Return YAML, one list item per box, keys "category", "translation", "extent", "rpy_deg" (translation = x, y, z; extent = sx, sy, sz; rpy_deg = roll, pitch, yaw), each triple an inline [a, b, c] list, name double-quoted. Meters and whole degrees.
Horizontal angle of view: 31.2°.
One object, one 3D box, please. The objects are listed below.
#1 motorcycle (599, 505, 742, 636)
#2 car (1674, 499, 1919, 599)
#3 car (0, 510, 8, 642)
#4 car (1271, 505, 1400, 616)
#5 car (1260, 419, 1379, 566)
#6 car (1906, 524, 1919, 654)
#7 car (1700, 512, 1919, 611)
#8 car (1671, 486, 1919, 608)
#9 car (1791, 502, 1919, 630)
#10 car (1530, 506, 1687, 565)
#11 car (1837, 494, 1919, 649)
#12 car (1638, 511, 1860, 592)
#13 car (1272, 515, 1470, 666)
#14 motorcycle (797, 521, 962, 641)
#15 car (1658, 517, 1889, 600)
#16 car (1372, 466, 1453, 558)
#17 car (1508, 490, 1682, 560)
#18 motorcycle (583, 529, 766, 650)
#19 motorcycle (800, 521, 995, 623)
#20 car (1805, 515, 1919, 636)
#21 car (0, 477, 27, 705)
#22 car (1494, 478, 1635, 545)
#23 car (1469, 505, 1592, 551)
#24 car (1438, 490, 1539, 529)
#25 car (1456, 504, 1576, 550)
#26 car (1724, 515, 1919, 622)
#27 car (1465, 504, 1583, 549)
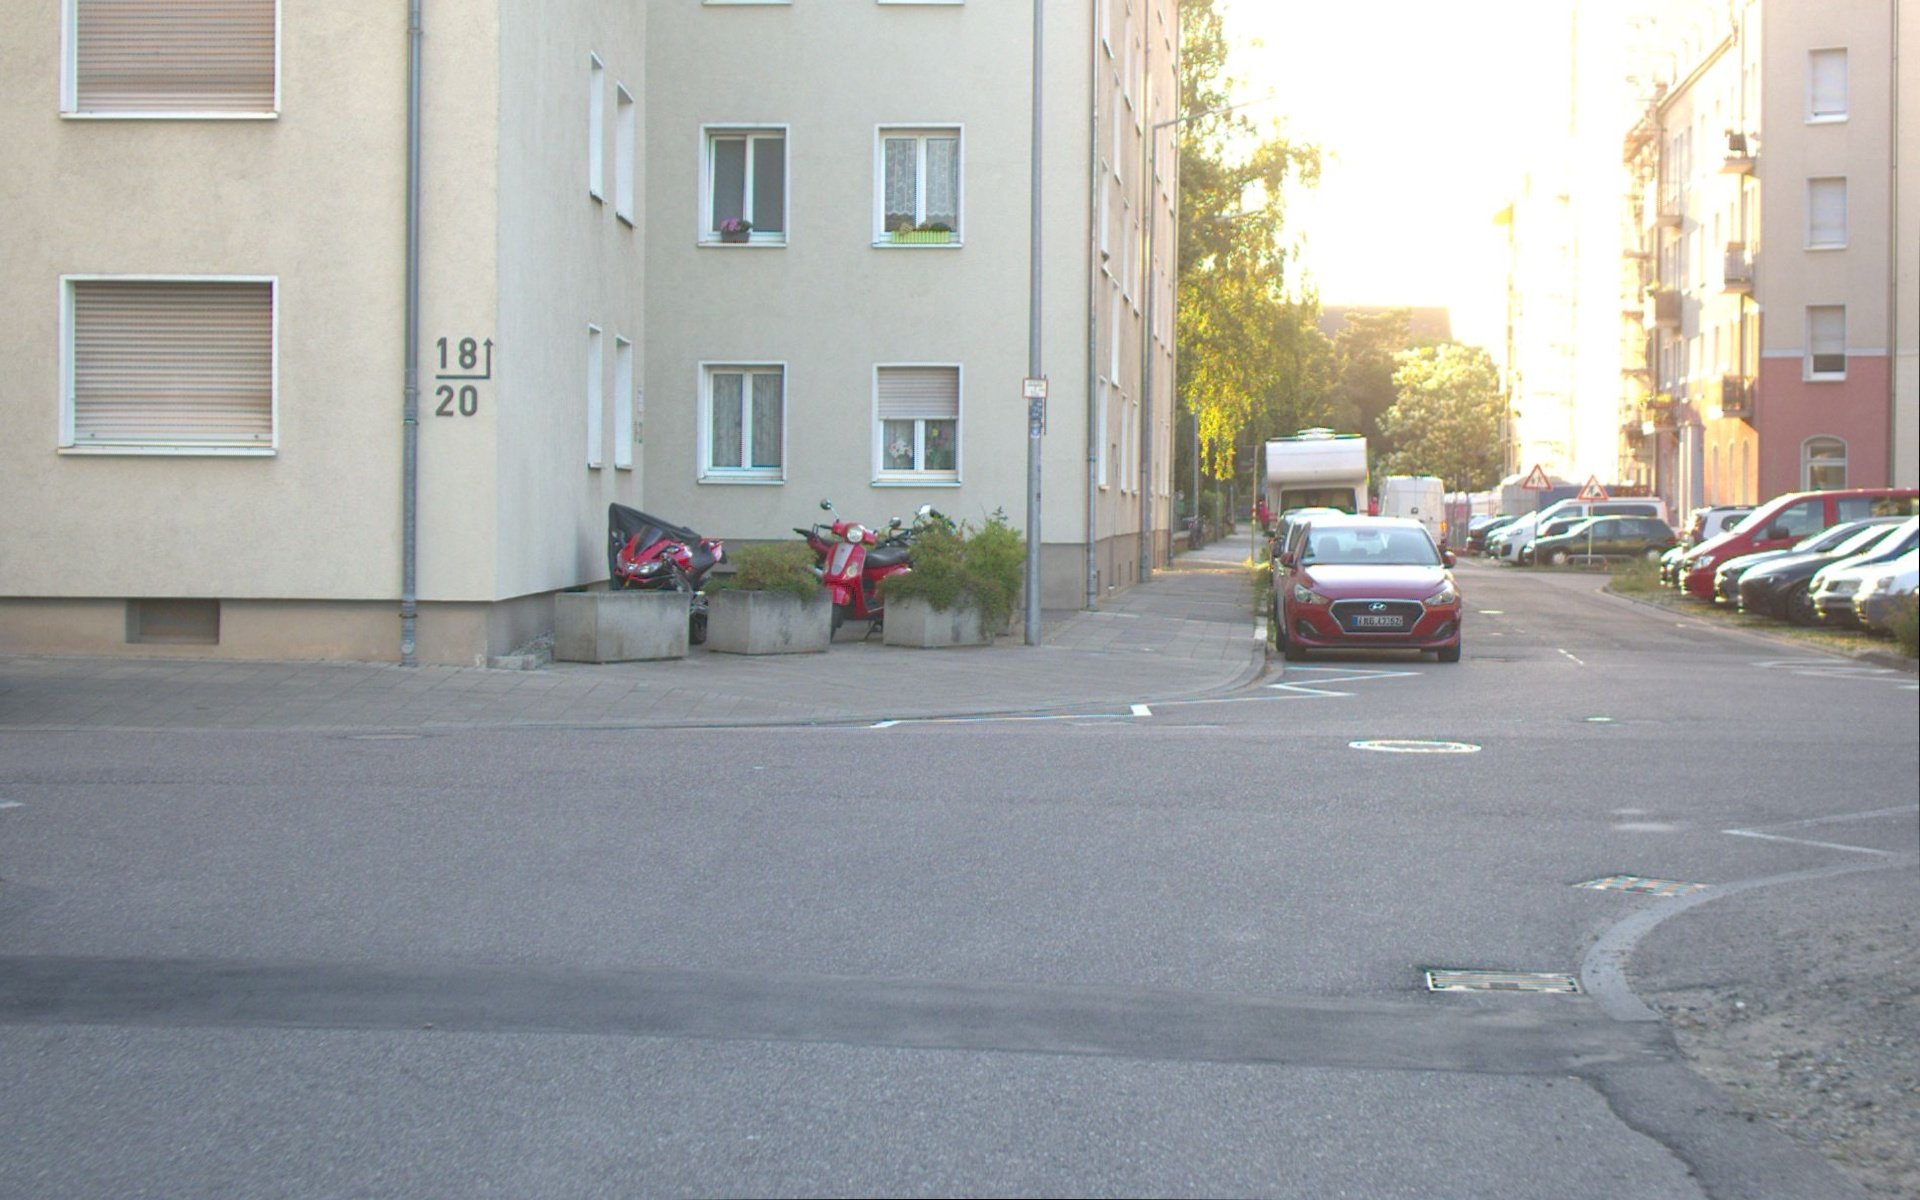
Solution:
- category: "motorcycle"
  translation: [-2.878, -0.314, 34.344]
  extent: [0.724, 1.260, 2.079]
  rpy_deg: [1, 2, 16]
- category: "car"
  translation: [14.619, -0.878, 59.224]
  extent: [4.324, 1.632, 1.818]
  rpy_deg: [-1, 1, 5]
- category: "car"
  translation: [-4.318, 0.425, 9.815]
  extent: [1.780, 1.473, 4.331]
  rpy_deg: [4, 2, 2]
- category: "car"
  translation: [5.194, -0.574, 47.825]
  extent: [1.616, 1.468, 3.504]
  rpy_deg: [-1, 1, 4]
- category: "car"
  translation: [8.478, -2.516, 81.218]
  extent: [2.620, 3.257, 7.695]
  rpy_deg: [-1, 1, 6]
- category: "car"
  translation: [13.027, -0.099, 39.555]
  extent: [3.873, 1.487, 1.741]
  rpy_deg: [1, 1, 6]
- category: "car"
  translation: [13.803, -0.615, 53.834]
  extent: [4.145, 1.466, 1.636]
  rpy_deg: [-1, 1, 5]
- category: "car"
  translation: [14.202, -0.883, 56.417]
  extent: [4.723, 1.903, 2.059]
  rpy_deg: [-1, 1, 5]
- category: "car"
  translation: [13.281, -0.485, 46.403]
  extent: [3.791, 1.689, 1.655]
  rpy_deg: [-1, 1, 6]
- category: "car"
  translation: [17.443, -1.751, 92.586]
  extent: [3.987, 1.525, 1.659]
  rpy_deg: [0, 2, 5]
- category: "car"
  translation: [13.040, -0.337, 41.948]
  extent: [4.280, 1.854, 1.741]
  rpy_deg: [1, 1, 6]
- category: "car"
  translation: [14.688, -0.910, 64.143]
  extent: [3.812, 1.423, 1.634]
  rpy_deg: [-1, 1, 5]
- category: "car"
  translation: [4.272, -0.148, 36.233]
  extent: [1.845, 1.468, 4.078]
  rpy_deg: [1, 2, 4]
- category: "motorcycle"
  translation: [-0.788, -0.208, 34.385]
  extent: [0.690, 1.156, 2.031]
  rpy_deg: [2, 2, 30]
- category: "car"
  translation: [14.546, -0.748, 61.632]
  extent: [3.812, 1.423, 1.634]
  rpy_deg: [-1, 1, 5]
- category: "car"
  translation: [13.774, -2.672, 104.828]
  extent: [2.129, 2.708, 4.833]
  rpy_deg: [-1, 1, 4]
- category: "car"
  translation: [18.357, -2.174, 99.504]
  extent: [4.814, 1.961, 1.739]
  rpy_deg: [0, 2, 5]
- category: "motorcycle"
  translation: [-2.639, -0.120, 32.047]
  extent: [0.724, 1.075, 2.078]
  rpy_deg: [2, 2, 26]
- category: "motorcycle"
  translation: [-0.713, -0.325, 38.931]
  extent: [2.125, 1.101, 0.560]
  rpy_deg: [1, 2, 17]
- category: "car"
  translation: [13.003, -0.325, 44.148]
  extent: [3.956, 1.517, 1.706]
  rpy_deg: [0, 2, 6]
- category: "car"
  translation: [-8.984, -0.033, 24.733]
  extent: [4.007, 1.612, 1.881]
  rpy_deg: [1, 6, 1]
- category: "car"
  translation: [18.543, -2.727, 105.588]
  extent: [3.987, 2.007, 2.000]
  rpy_deg: [1, 1, 2]
- category: "car"
  translation: [19.306, -2.448, 116.468]
  extent: [3.987, 1.525, 1.659]
  rpy_deg: [0, 2, 5]
- category: "car"
  translation: [21.769, -3.738, 141.747]
  extent: [3.987, 1.525, 1.659]
  rpy_deg: [0, 2, 5]
- category: "car"
  translation: [19.250, -2.527, 119.232]
  extent: [3.987, 1.525, 1.659]
  rpy_deg: [0, 2, 5]
- category: "car"
  translation: [13.089, -0.467, 48.552]
  extent: [4.309, 1.444, 1.655]
  rpy_deg: [-1, 1, 6]
- category: "car"
  translation: [19.861, -2.589, 121.144]
  extent: [3.987, 1.525, 1.659]
  rpy_deg: [0, 2, 5]
